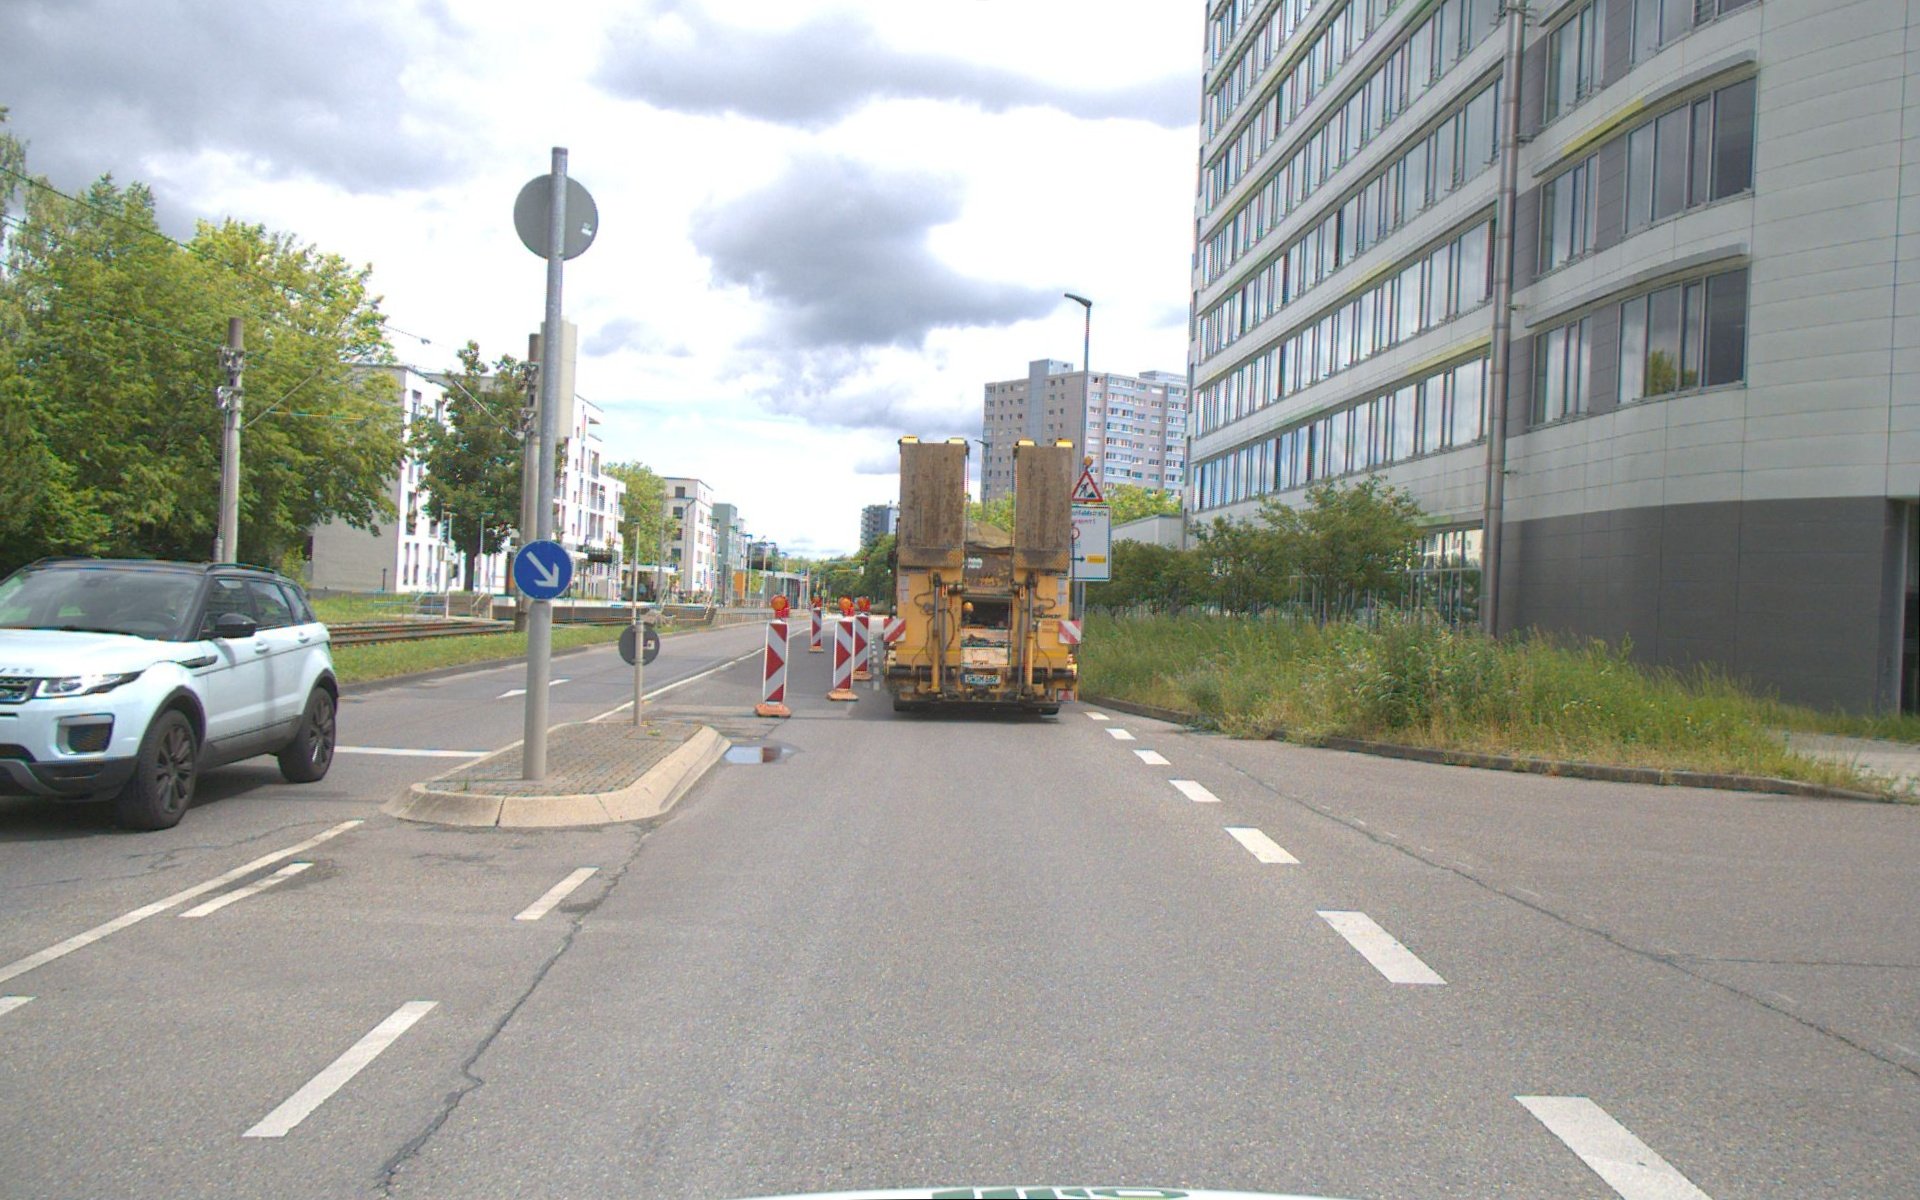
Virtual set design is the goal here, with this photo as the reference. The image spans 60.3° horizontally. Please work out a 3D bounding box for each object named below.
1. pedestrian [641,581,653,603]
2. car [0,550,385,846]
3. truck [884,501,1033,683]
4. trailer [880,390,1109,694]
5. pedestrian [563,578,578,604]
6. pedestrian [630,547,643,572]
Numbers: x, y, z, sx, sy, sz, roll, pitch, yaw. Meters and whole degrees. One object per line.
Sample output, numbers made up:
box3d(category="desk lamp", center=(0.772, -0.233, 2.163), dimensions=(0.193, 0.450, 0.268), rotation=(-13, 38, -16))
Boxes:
box3d(category="pedestrian", center=(-23.713, -0.625, 125.378), dimensions=(0.478, 1.624, 0.676), rotation=(2, -1, 32))
box3d(category="car", center=(-5.680, 0.532, 11.553), dimensions=(1.823, 1.638, 4.605), rotation=(2, 0, -2))
box3d(category="truck", center=(-0.189, -0.119, 35.814), dimensions=(2.698, 3.371, 8.347), rotation=(3, -1, -2))
box3d(category="trailer", center=(0.210, -0.670, 26.003), dimensions=(2.674, 3.621, 11.248), rotation=(3, -1, -2))
box3d(category="pedestrian", center=(-23.453, -0.544, 99.587), dimensions=(0.726, 1.558, 0.547), rotation=(2, -1, 1))
box3d(category="pedestrian", center=(-24.121, -3.024, 123.290), dimensions=(0.664, 1.755, 0.487), rotation=(3, -4, 34))
